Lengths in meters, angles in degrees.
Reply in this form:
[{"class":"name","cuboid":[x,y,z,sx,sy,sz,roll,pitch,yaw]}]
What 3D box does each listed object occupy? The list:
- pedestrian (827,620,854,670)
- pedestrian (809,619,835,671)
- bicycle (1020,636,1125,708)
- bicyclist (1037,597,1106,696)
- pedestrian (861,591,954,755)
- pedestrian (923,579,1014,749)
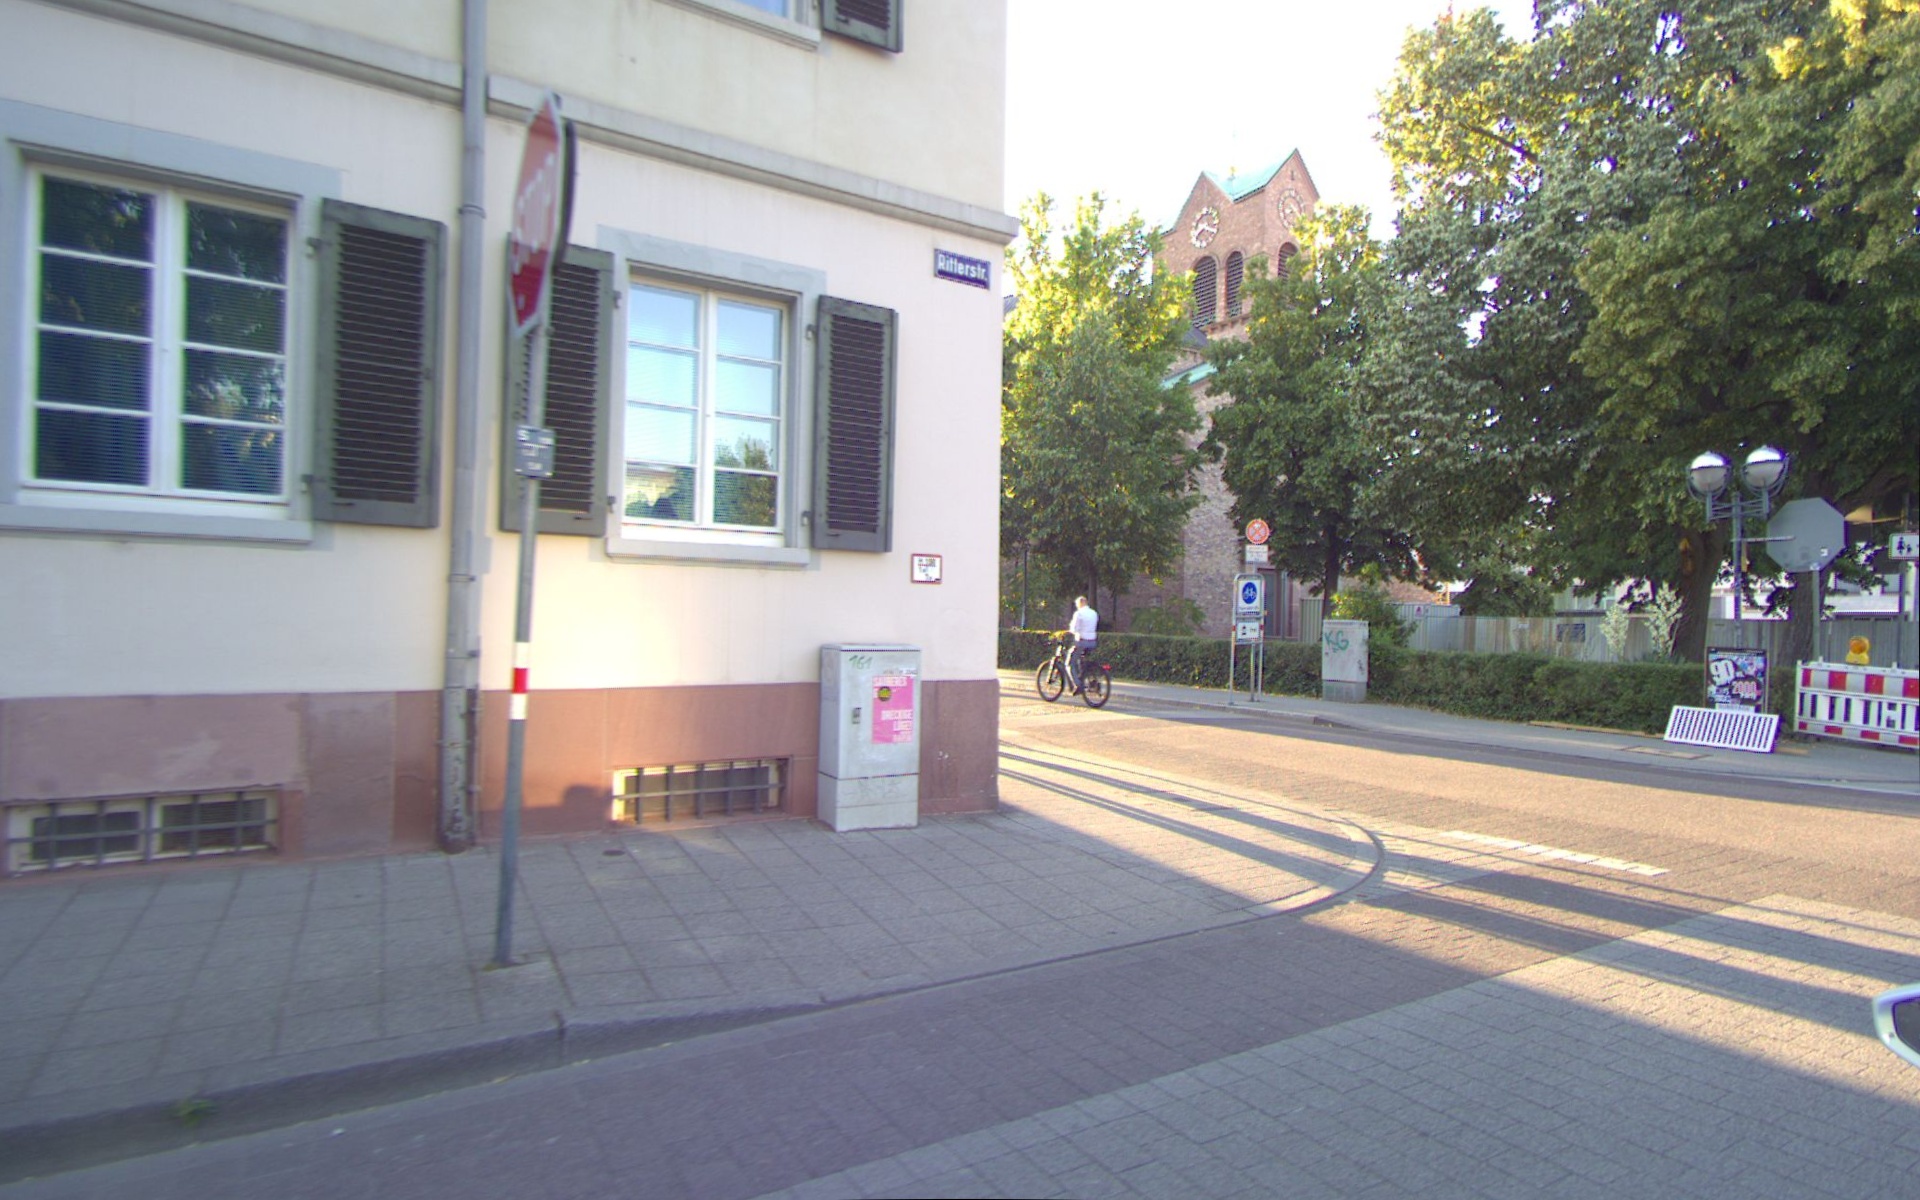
[{"class":"pedestrian","cuboid":[-4.466,1.699,37.612,0.786,1.849,0.652,2,-2,-29]},{"class":"pedestrian","cuboid":[-4.997,1.627,36.283,0.780,1.837,0.657,1,-2,4]},{"class":"bicycle","cuboid":[1.902,1.204,17.233,0.591,1.136,1.912,2,-2,-39]},{"class":"bicyclist","cuboid":[1.910,0.786,17.267,0.591,1.654,1.052,2,-2,-39]},{"class":"pedestrian","cuboid":[-0.572,0.779,10.951,0.787,1.711,0.651,2,-2,-31]},{"class":"pedestrian","cuboid":[0.092,0.714,11.354,0.787,1.838,0.651,2,-2,-31]}]
